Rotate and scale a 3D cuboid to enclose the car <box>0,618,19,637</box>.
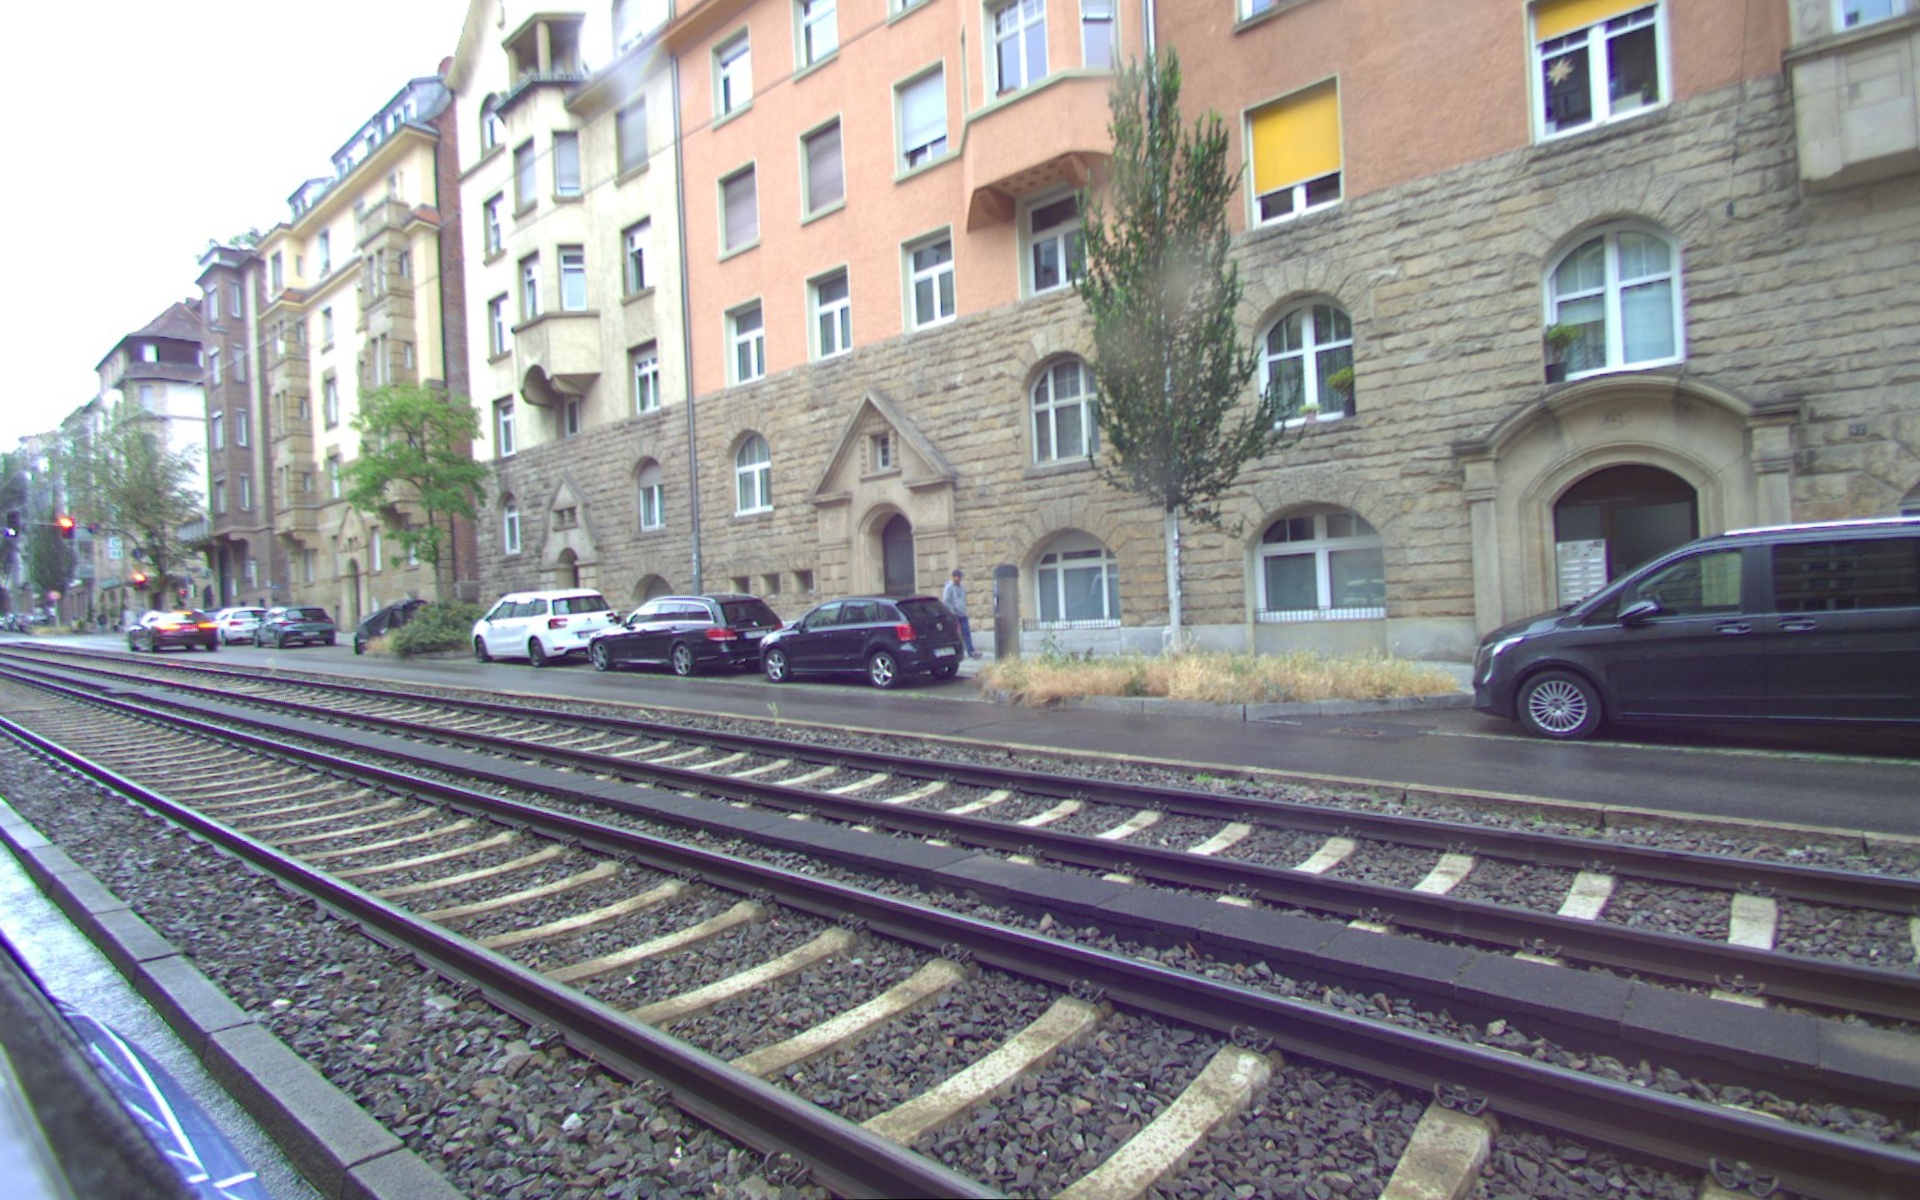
[{"bbox_3d":[-80.920,2.313,85.421,3.843,1.527,1.748,-1,0,41],"label":"car"}]

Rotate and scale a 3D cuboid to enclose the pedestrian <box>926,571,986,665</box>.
[{"bbox_3d":[-0.073,0.320,18.749,0.765,1.654,0.692,-1,3,41],"label":"pedestrian"}]

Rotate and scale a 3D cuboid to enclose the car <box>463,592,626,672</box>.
[{"bbox_3d":[-9.750,0.709,23.616,4.144,1.668,1.843,-1,0,41],"label":"car"}]

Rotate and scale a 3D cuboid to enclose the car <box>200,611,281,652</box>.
[{"bbox_3d":[-28.290,1.223,39.769,4.030,1.452,1.748,-1,1,42],"label":"car"}]

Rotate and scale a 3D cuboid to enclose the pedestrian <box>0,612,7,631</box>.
[{"bbox_3d":[-100.234,2.224,105.372,1.379,1.972,1.362,-1,0,43],"label":"pedestrian"}]

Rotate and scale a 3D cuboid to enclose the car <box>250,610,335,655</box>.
[{"bbox_3d":[-23.688,1.107,35.866,3.845,1.452,1.656,-1,1,43],"label":"car"}]

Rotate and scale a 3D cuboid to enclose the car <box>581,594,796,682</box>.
[{"bbox_3d":[-5.443,0.704,19.943,4.599,1.506,1.824,-1,0,41],"label":"car"}]

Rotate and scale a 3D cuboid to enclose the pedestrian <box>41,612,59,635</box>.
[{"bbox_3d":[-78.702,2.036,87.505,1.163,1.972,1.042,-1,0,43],"label":"pedestrian"}]

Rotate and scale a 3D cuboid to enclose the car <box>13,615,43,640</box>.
[{"bbox_3d":[-69.044,2.013,74.982,1.561,1.691,3.794,-2,2,-43],"label":"car"}]

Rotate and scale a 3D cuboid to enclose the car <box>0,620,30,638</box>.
[{"bbox_3d":[-74.293,2.303,79.347,3.843,1.321,1.563,-1,0,41],"label":"car"}]

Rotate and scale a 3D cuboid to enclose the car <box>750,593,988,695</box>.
[{"bbox_3d":[-1.562,0.674,16.921,3.638,1.508,1.912,-1,0,38],"label":"car"}]

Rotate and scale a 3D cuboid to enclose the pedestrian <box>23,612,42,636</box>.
[{"bbox_3d":[-79.420,2.042,86.656,1.163,1.972,1.042,-1,0,43],"label":"pedestrian"}]

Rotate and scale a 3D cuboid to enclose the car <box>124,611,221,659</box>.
[{"bbox_3d":[-27.839,1.212,35.716,4.962,1.535,1.784,-1,0,41],"label":"car"}]

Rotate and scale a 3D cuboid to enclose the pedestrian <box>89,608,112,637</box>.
[{"bbox_3d":[-59.005,1.553,69.473,1.163,1.972,1.042,-1,0,43],"label":"pedestrian"}]

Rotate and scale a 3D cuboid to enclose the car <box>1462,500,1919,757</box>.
[{"bbox_3d":[7.340,0.219,8.987,4.823,1.956,1.973,-1,0,41],"label":"car"}]

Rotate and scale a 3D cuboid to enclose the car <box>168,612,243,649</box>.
[{"bbox_3d":[-32.148,1.278,43.092,3.843,1.452,1.748,-1,0,41],"label":"car"}]
